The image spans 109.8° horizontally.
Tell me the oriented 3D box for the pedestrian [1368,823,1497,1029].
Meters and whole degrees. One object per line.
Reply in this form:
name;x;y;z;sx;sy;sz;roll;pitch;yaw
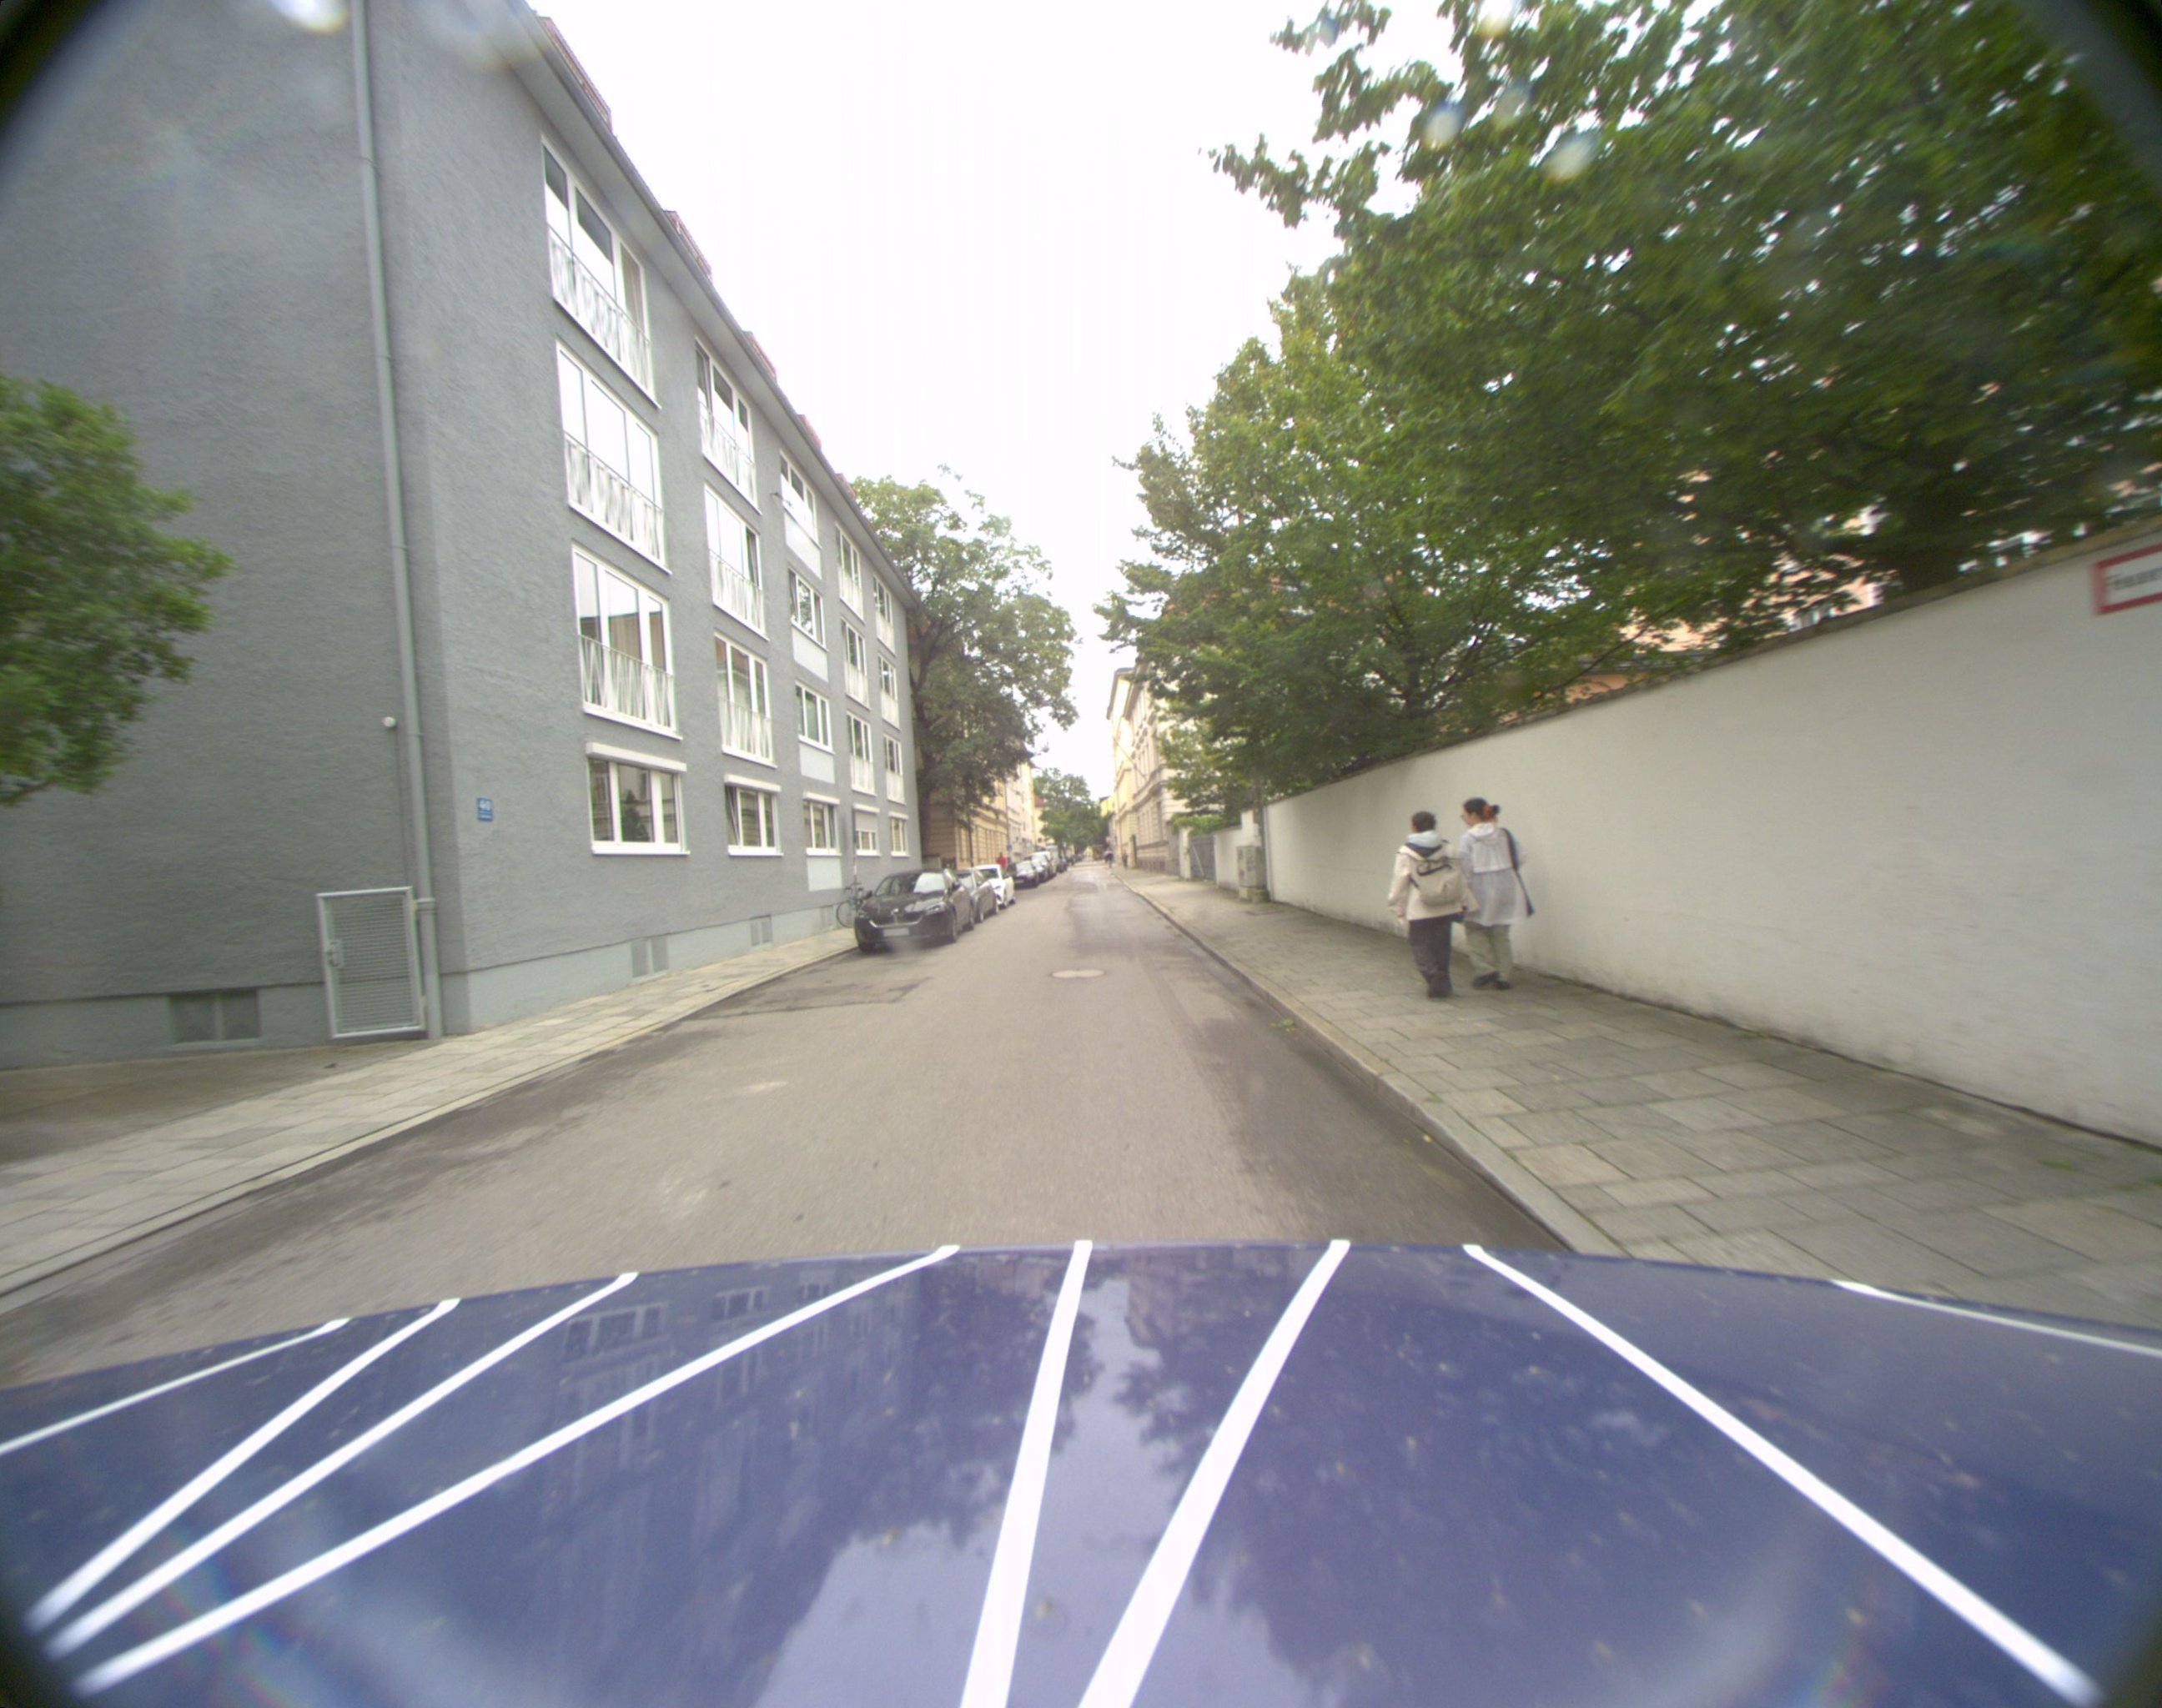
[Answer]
pedestrian;2.878;0.560;6.280;0.624;1.570;0.714;-5;1;1

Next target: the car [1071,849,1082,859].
car;-0.910;-0.053;167.121;2.014;1.969;5.090;-7;0;2

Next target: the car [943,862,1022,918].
car;-3.169;1.121;25.321;1.773;1.437;4.344;-7;0;2

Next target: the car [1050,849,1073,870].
car;-2.070;0.600;83.028;2.014;1.989;5.090;-7;0;2

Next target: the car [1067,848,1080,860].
car;-1.381;0.030;146.845;2.014;1.969;5.090;-7;0;2

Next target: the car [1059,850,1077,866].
car;-1.769;0.520;106.174;2.014;1.914;5.090;-7;0;2

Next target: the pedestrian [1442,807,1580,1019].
pedestrian;3.546;0.465;6.316;0.615;1.612;0.687;-6;1;1

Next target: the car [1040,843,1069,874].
car;-2.384;0.393;69.609;2.014;2.479;5.090;-7;0;2

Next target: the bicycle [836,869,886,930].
bicycle;-5.880;1.180;20.434;0.515;1.478;2.279;-4;0;1

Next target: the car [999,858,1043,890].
car;-3.075;1.012;39.959;1.860;1.366;4.509;-6;1;-1

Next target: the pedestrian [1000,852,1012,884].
pedestrian;-4.715;0.875;47.681;0.581;1.966;0.455;-4;1;1

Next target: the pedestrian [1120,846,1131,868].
pedestrian;3.632;0.211;62.073;0.766;1.742;0.970;-3;1;0

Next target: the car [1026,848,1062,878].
car;-2.704;0.632;56.507;1.998;2.002;5.064;-3;0;3

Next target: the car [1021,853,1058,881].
car;-2.719;0.803;50.488;1.998;1.677;4.510;-3;0;2

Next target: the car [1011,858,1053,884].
car;-2.832;0.953;45.175;1.998;1.306;4.593;-3;0;2

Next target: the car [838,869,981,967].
car;-3.281;1.158;15.431;1.846;1.420;4.263;-7;0;-1

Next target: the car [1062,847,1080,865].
car;-1.446;0.289;112.637;2.242;2.247;5.090;-7;0;2

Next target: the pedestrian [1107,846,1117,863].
pedestrian;3.244;0.048;78.802;0.920;1.742;1.066;-3;1;0

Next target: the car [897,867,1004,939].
car;-3.325;1.189;20.261;1.794;1.393;4.485;-7;0;2
